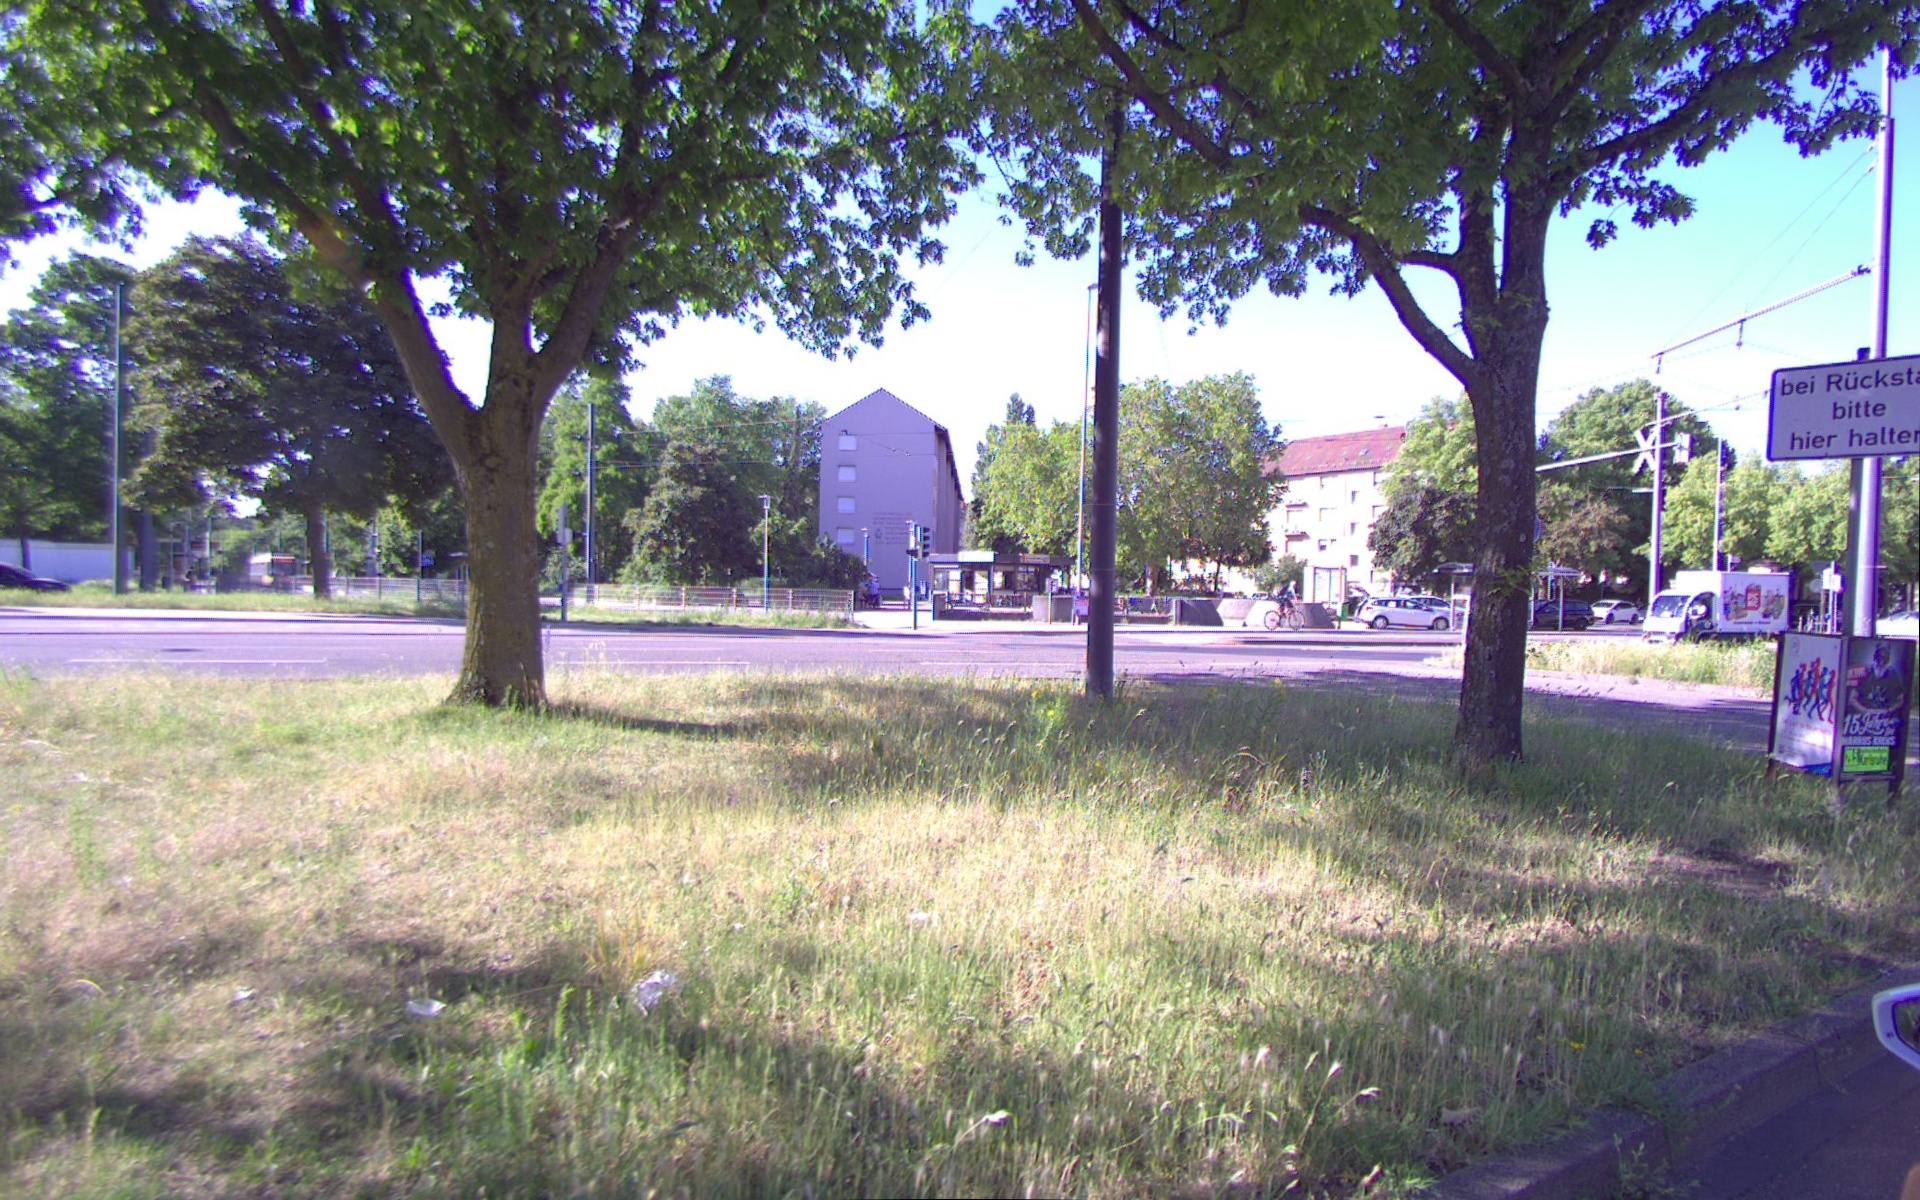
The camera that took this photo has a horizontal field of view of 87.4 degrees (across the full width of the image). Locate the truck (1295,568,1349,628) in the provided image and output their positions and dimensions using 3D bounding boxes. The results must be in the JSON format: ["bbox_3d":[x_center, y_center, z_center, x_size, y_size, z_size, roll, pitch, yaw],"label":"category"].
[{"bbox_3d":[19.450,-0.161,54.116,1.959,3.035,4.831,1,1,11],"label":"truck"}]

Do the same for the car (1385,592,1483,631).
[{"bbox_3d":[23.163,0.562,49.156,3.923,1.741,1.762,1,4,-4],"label":"car"}]

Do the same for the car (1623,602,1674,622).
[{"bbox_3d":[47.658,0.809,69.534,3.660,1.311,1.586,0,1,-32],"label":"car"}]

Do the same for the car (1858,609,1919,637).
[{"bbox_3d":[47.227,1.153,49.555,1.978,1.260,3.964,1,2,-32],"label":"car"}]

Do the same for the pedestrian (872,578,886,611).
[{"bbox_3d":[-4.671,-0.315,57.727,0.714,1.854,0.558,1,1,-10],"label":"pedestrian"}]

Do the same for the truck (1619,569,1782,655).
[{"bbox_3d":[22.377,0.355,30.383,4.041,2.459,1.788,1,1,-15],"label":"truck"}]

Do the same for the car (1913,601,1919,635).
[{"bbox_3d":[46.242,0.927,45.282,1.965,1.583,4.377,1,1,-11],"label":"car"}]

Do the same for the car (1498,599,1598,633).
[{"bbox_3d":[28.365,0.761,48.492,3.936,1.509,1.760,0,4,-10],"label":"car"}]

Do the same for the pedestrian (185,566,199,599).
[{"bbox_3d":[-44.426,-1.000,58.119,0.580,1.880,0.632,0,2,-42],"label":"pedestrian"}]

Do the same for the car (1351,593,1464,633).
[{"bbox_3d":[20.817,0.585,46.878,4.457,1.565,1.873,2,4,12],"label":"car"}]

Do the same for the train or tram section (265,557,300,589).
[{"bbox_3d":[-69.279,-2.829,102.552,2.446,2.979,19.642,1,1,-35],"label":"train or tram section"}]

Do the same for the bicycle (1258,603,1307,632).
[{"bbox_3d":[11.774,0.648,36.651,1.631,1.015,0.612,0,2,-16],"label":"bicycle"}]

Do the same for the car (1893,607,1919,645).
[{"bbox_3d":[42.156,1.162,42.539,1.959,1.593,4.002,2,1,10],"label":"car"}]

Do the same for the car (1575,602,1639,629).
[{"bbox_3d":[42.988,1.024,66.715,4.174,1.639,1.752,1,2,-29],"label":"car"}]

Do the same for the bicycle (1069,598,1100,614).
[{"bbox_3d":[7.142,0.327,57.549,1.652,0.850,0.548,2,1,16],"label":"bicycle"}]

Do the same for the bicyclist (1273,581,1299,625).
[{"bbox_3d":[11.880,0.107,36.595,0.665,1.551,0.612,0,2,-15],"label":"bicyclist"}]
